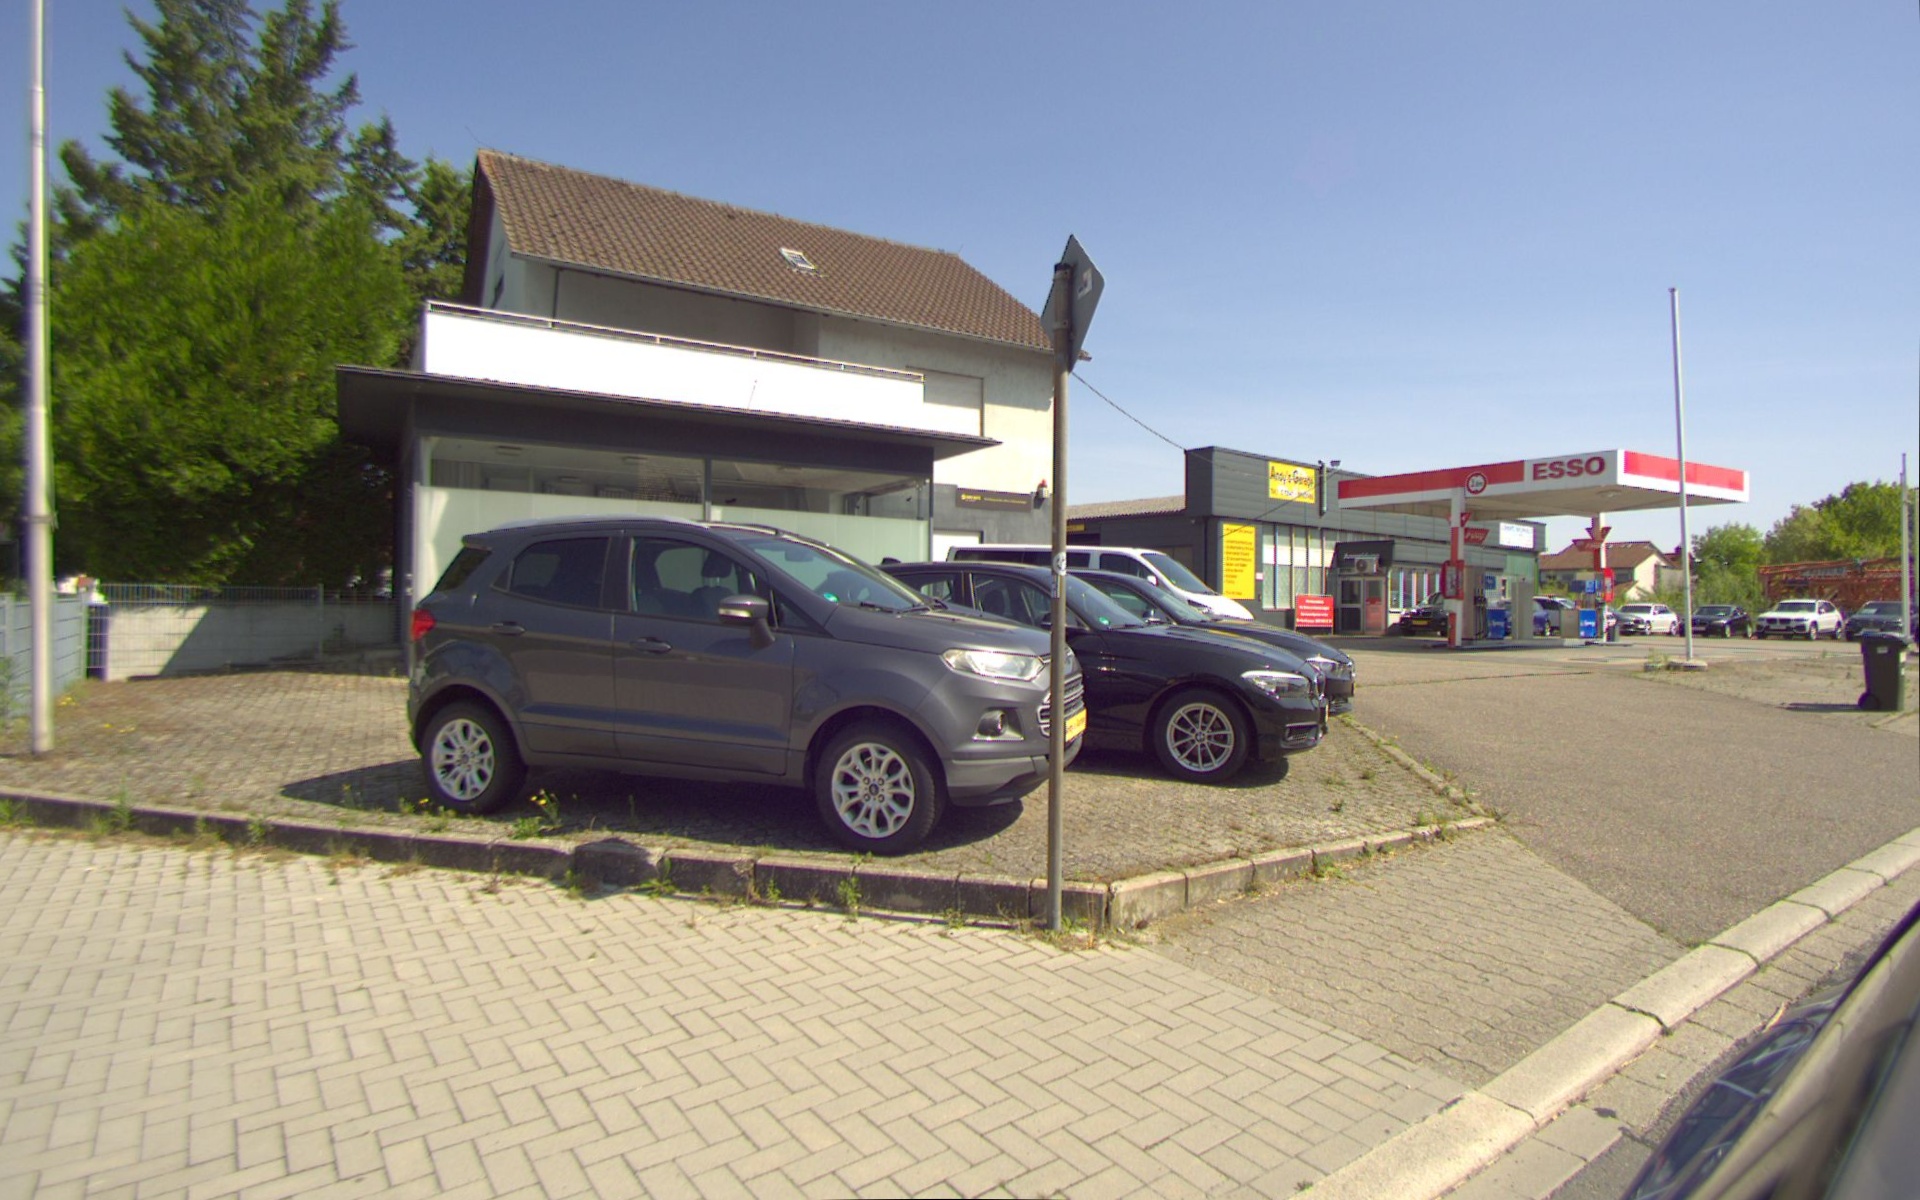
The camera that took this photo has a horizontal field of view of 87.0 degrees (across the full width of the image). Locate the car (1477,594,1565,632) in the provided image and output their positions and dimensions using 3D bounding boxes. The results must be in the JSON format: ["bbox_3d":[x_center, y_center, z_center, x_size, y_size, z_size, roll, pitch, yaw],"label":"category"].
[{"bbox_3d":[22.620,0.473,40.777,4.054,1.450,1.796,0,0,-40],"label":"car"}]

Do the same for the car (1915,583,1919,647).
[{"bbox_3d":[24.124,0.462,22.680,1.744,1.574,4.175,2,2,7],"label":"car"}]

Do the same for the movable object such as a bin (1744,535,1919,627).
[{"bbox_3d":[44.426,-0.844,44.291,2.719,4.069,16.115,0,0,-32],"label":"movable object such as a bin"}]

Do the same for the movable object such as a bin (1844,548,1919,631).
[{"bbox_3d":[51.880,-0.546,49.078,2.806,4.218,13.306,0,0,-32],"label":"movable object such as a bin"}]

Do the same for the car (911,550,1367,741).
[{"bbox_3d":[1.827,0.358,10.227,4.190,1.586,1.969,1,-1,22],"label":"car"}]

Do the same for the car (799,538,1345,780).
[{"bbox_3d":[0.862,0.347,7.712,3.830,1.465,1.737,0,0,24],"label":"car"}]

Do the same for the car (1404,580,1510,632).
[{"bbox_3d":[18.128,0.258,36.797,4.734,1.764,1.806,2,-2,-42],"label":"car"}]

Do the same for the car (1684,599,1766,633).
[{"bbox_3d":[33.008,0.657,43.663,3.926,1.404,1.846,0,0,-38],"label":"car"}]

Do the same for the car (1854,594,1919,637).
[{"bbox_3d":[36.464,0.562,39.352,4.030,1.612,1.846,0,0,-38],"label":"car"}]

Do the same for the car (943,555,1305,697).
[{"bbox_3d":[2.112,0.277,12.990,4.270,1.570,1.968,0,0,24],"label":"car"}]

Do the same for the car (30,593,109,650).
[{"bbox_3d":[-27.027,0.675,30.816,1.610,1.558,3.899,0,-3,-39],"label":"car"}]

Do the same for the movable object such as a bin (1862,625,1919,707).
[{"bbox_3d":[11.349,0.783,12.277,0.506,0.948,0.558,0,0,-41],"label":"movable object such as a bin"}]

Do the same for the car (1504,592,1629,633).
[{"bbox_3d":[25.503,0.501,42.692,1.777,1.655,4.154,0,0,-35],"label":"car"}]

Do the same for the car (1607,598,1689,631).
[{"bbox_3d":[31.336,0.616,46.063,4.295,1.404,1.846,0,0,-38],"label":"car"}]

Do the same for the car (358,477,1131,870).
[{"bbox_3d":[-1.179,0.300,5.866,4.061,1.674,1.820,0,0,19],"label":"car"}]

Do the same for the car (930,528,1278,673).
[{"bbox_3d":[2.273,-0.011,16.584,5.247,2.039,2.205,0,0,33],"label":"car"}]

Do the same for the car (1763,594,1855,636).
[{"bbox_3d":[34.918,0.573,41.592,4.259,1.612,2.004,0,0,-38],"label":"car"}]

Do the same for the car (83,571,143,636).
[{"bbox_3d":[-34.983,0.146,41.877,1.813,2.568,3.900,0,0,-39],"label":"car"}]

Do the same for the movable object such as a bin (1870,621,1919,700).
[{"bbox_3d":[11.863,0.747,12.731,0.506,0.951,0.558,0,0,-41],"label":"movable object such as a bin"}]

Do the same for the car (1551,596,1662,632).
[{"bbox_3d":[28.057,0.573,44.028,1.777,1.492,3.690,0,0,-35],"label":"car"}]
